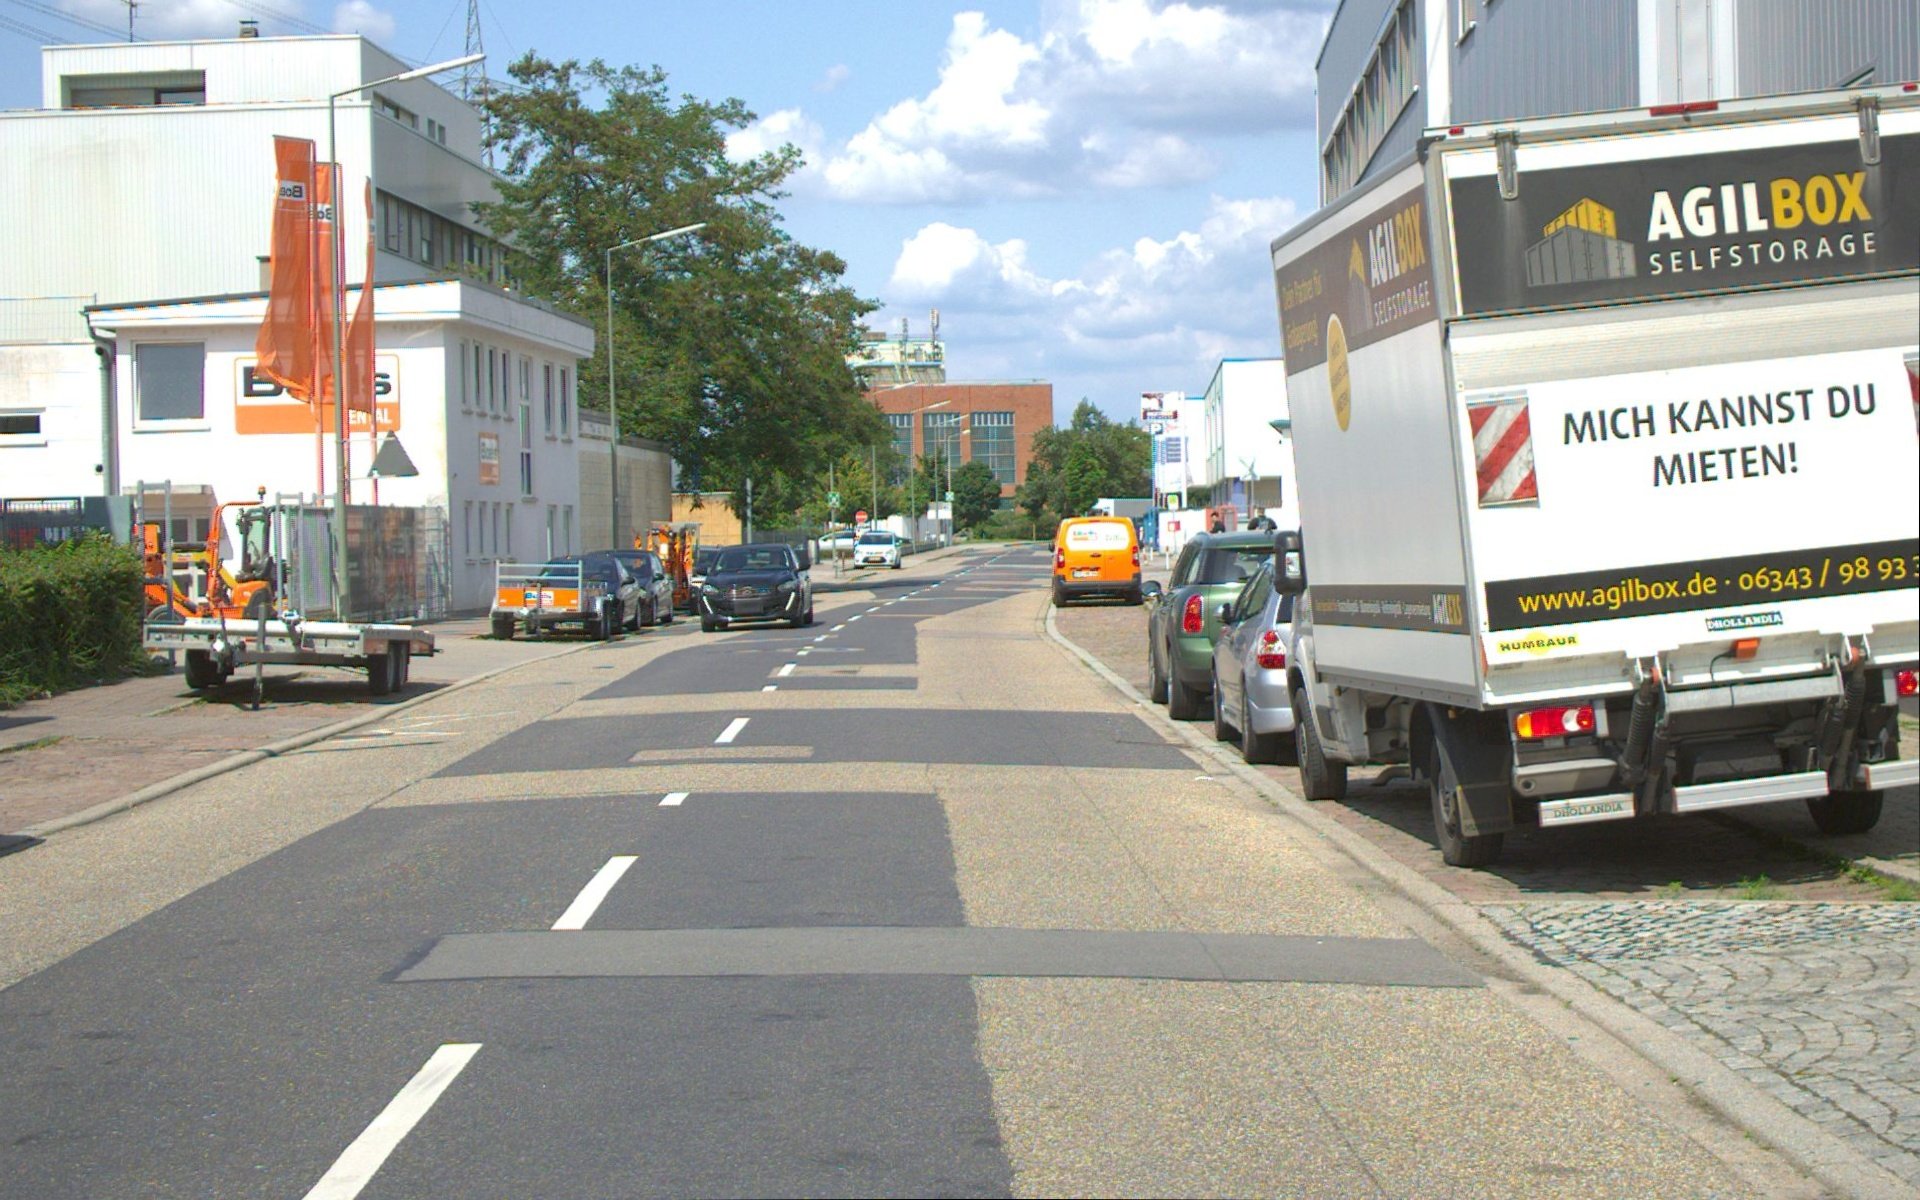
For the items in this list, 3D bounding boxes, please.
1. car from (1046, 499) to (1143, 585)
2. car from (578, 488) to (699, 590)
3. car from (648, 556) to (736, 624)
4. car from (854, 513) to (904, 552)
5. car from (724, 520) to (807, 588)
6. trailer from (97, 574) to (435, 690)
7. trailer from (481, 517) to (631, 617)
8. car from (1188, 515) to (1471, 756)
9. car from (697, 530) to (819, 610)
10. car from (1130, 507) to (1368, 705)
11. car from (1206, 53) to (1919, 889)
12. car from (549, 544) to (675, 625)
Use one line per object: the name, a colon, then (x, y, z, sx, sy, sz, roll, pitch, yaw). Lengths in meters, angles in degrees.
car: (2.801, -1.196, 71.914, 1.940, 1.736, 4.376, -1, 0, 2)
car: (-6.650, -1.245, 71.482, 1.993, 2.007, 4.000, 1, 0, 2)
car: (-5.986, -0.231, 77.003, 1.668, 1.442, 3.454, 2, 0, 0)
car: (-3.498, -2.911, 148.594, 1.810, 1.558, 4.000, 1, 0, 3)
car: (-5.338, -1.247, 94.693, 1.922, 1.788, 4.000, 1, 0, 2)
trailer: (-6.905, 0.274, 34.893, 2.362, 0.890, 5.570, 2, 2, -1)
trailer: (-6.531, -0.547, 55.962, 1.993, 1.551, 4.254, 0, 1, -1)
car: (2.565, 0.202, 24.649, 1.567, 1.568, 4.069, -1, 1, 0)
car: (-3.389, -0.519, 58.281, 1.918, 1.280, 3.615, -1, 1, -1)
car: (2.446, 0.034, 29.913, 1.768, 1.607, 3.873, 0, 0, 0)
car: (2.972, -0.585, 17.527, 2.388, 3.351, 6.646, -3, 1, -4)
car: (-6.504, -0.301, 64.688, 1.825, 1.437, 4.000, 1, 0, 2)
